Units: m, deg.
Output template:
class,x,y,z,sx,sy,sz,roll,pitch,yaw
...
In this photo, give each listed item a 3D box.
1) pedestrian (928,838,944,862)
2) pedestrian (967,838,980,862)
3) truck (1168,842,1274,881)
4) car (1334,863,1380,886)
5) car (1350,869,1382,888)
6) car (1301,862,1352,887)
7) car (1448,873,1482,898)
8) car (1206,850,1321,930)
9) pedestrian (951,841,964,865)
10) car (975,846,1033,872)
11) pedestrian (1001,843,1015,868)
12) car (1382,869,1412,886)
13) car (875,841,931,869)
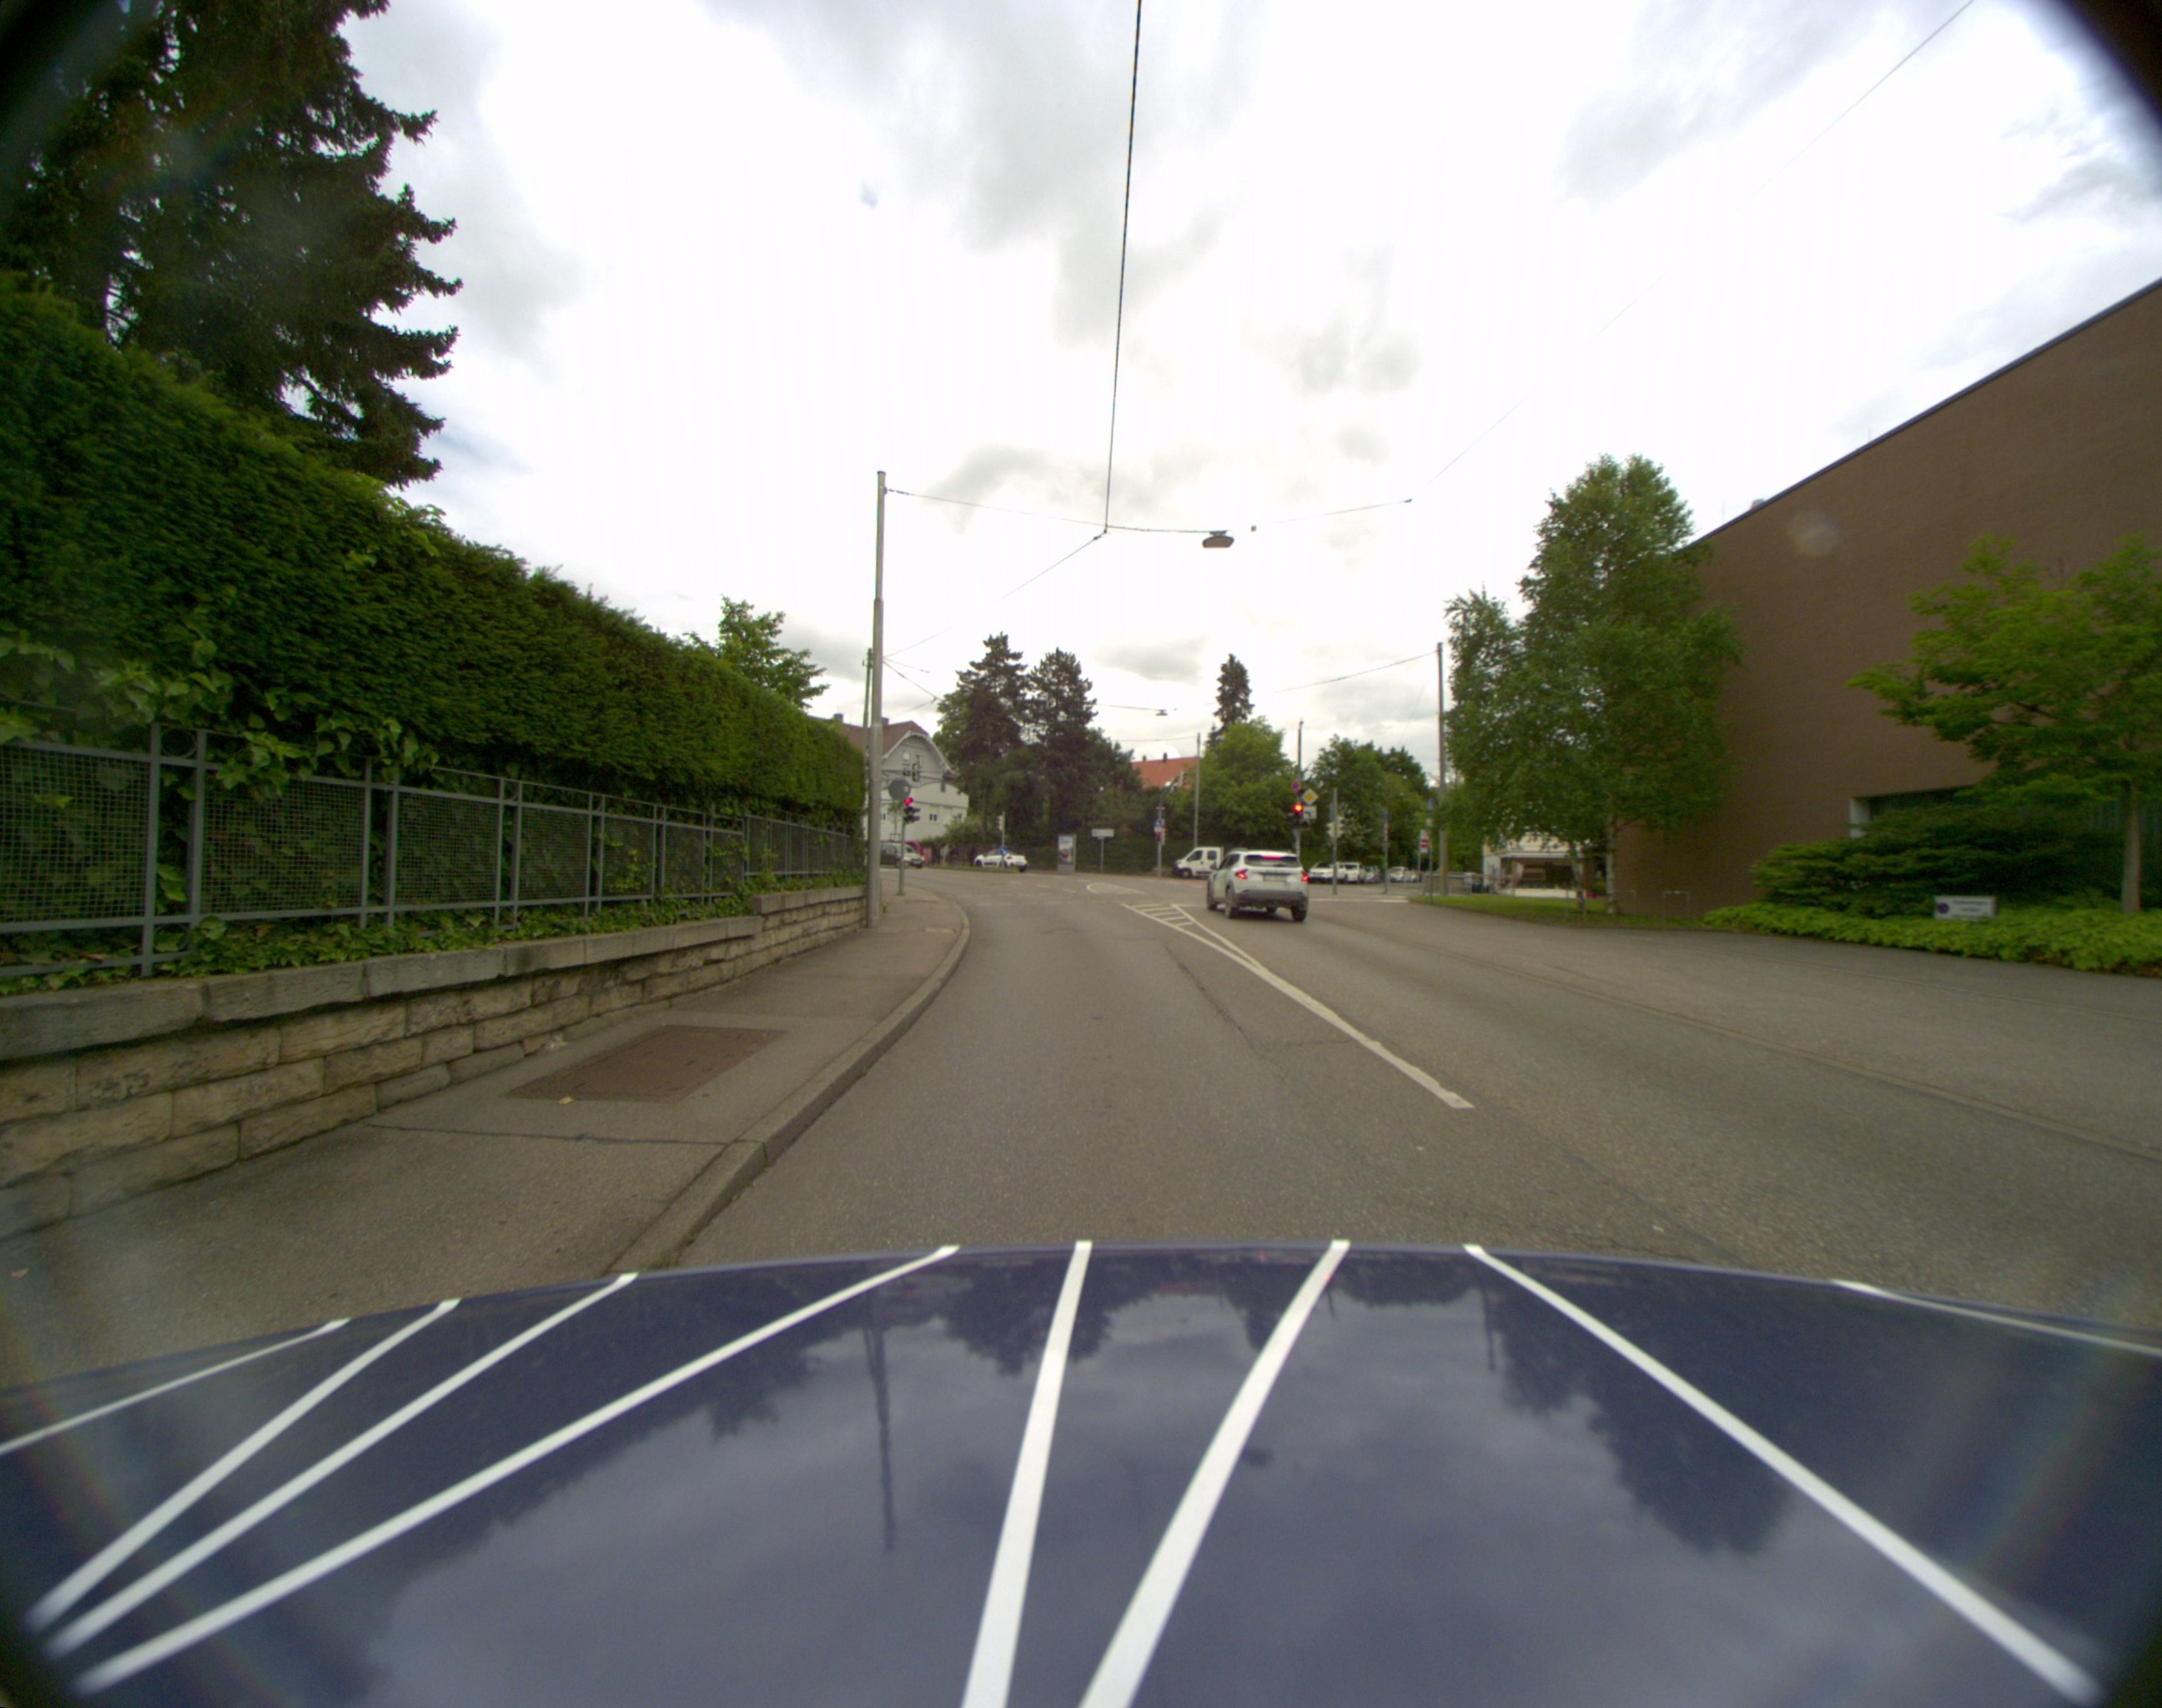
class,x,y,z,sx,sy,sz,roll,pitch,yaw
pedestrian,-10.947,-0.318,57.495,0.686,1.803,0.882,3,1,29
pedestrian,-8.155,-0.285,57.748,0.611,1.824,0.605,3,0,27
truck,9.340,0.479,50.909,6.706,2.176,2.532,3,1,12
car,20.896,1.579,57.440,1.994,1.603,4.010,3,0,39
car,23.563,1.978,62.765,1.867,1.445,3.739,1,0,29
car,17.222,1.435,53.177,1.994,1.603,4.010,3,0,39
car,25.709,2.081,50.936,1.875,1.440,4.008,3,0,26
car,4.337,0.768,18.778,1.773,1.628,4.301,4,0,1
pedestrian,-9.317,-0.053,57.166,0.665,1.777,0.614,3,0,27
car,-5.027,0.309,49.352,1.705,1.431,3.744,4,1,-45
pedestrian,-5.407,0.105,56.314,0.611,1.824,0.680,3,0,27
car,31.450,2.320,75.531,1.866,1.577,3.739,2,0,36
car,-11.221,0.054,47.745,1.622,1.571,3.988,0,2,-44
